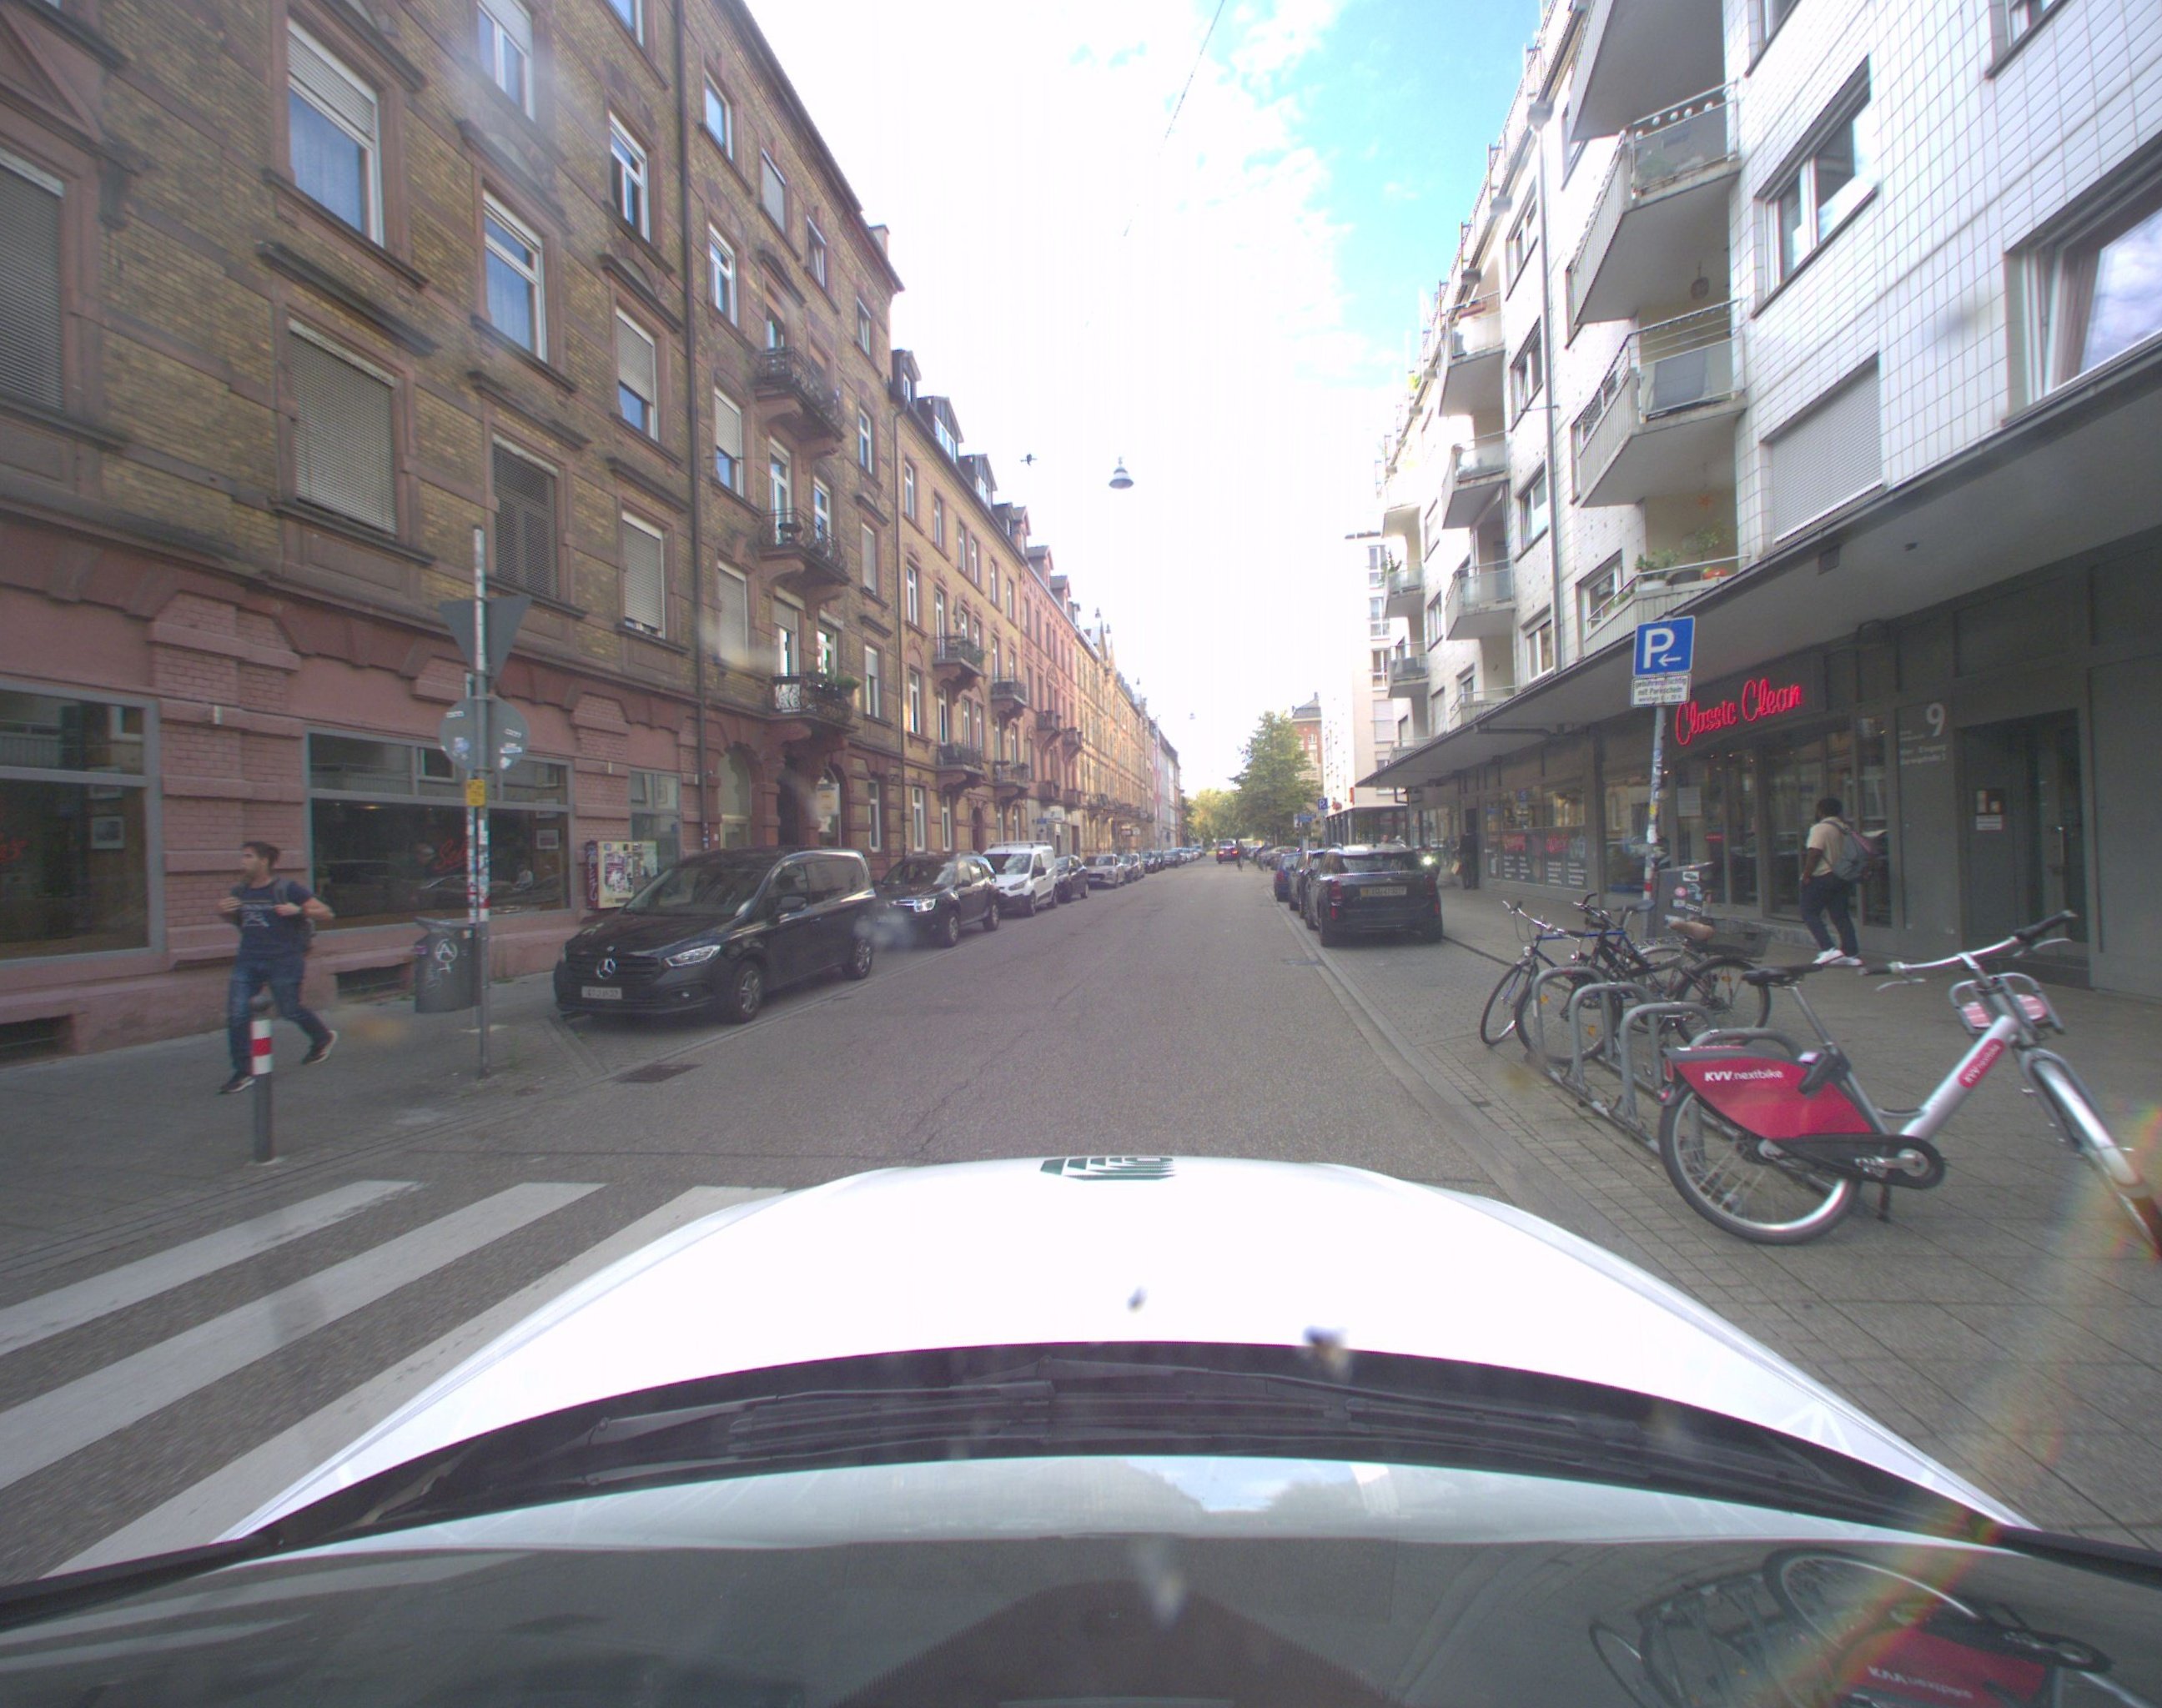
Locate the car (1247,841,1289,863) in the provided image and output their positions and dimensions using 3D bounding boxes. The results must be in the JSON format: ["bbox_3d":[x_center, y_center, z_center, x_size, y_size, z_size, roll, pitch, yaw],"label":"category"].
[{"bbox_3d":[18.908,-0.240,82.326,3.958,1.683,1.745,-4,8,14],"label":"car"}]

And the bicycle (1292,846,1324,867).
[{"bbox_3d":[13.860,0.149,49.735,1.757,1.146,0.412,-4,0,5],"label":"bicycle"}]

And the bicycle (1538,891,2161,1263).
[{"bbox_3d":[3.010,0.801,3.186,1.871,1.125,0.910,-4,0,8],"label":"bicycle"}]

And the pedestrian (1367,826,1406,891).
[{"bbox_3d":[8.468,0.107,22.627,0.609,1.726,1.128,-5,0,5],"label":"pedestrian"}]

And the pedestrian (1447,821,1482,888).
[{"bbox_3d":[10.772,0.015,22.893,0.700,1.860,0.649,-2,0,39],"label":"pedestrian"}]

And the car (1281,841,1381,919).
[{"bbox_3d":[5.754,0.548,19.175,1.678,1.577,3.913,-3,0,9],"label":"car"}]

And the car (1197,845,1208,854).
[{"bbox_3d":[20.852,-0.716,140.018,1.679,1.550,3.878,-1,0,10],"label":"car"}]

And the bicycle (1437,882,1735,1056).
[{"bbox_3d":[3.677,0.817,6.013,1.782,1.070,0.587,-4,0,0],"label":"bicycle"}]

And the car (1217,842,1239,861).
[{"bbox_3d":[13.964,-0.224,77.427,1.952,1.741,4.053,-1,-1,11],"label":"car"}]

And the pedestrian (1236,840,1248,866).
[{"bbox_3d":[10.261,-0.081,51.864,0.713,1.650,0.933,-1,0,11],"label":"pedestrian"}]

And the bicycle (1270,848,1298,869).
[{"bbox_3d":[12.316,0.273,49.412,1.488,1.146,0.412,-4,0,5],"label":"bicycle"}]

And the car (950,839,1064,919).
[{"bbox_3d":[-1.844,0.580,21.881,1.908,1.871,4.449,-2,0,10],"label":"car"}]

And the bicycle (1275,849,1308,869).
[{"bbox_3d":[12.412,0.280,47.997,1.757,1.056,0.412,-4,0,5],"label":"bicycle"}]

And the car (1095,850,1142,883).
[{"bbox_3d":[1.921,0.593,40.828,1.730,1.483,3.996,-1,1,11],"label":"car"}]

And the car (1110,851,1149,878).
[{"bbox_3d":[2.748,0.569,45.390,1.679,1.386,3.879,-1,1,11],"label":"car"}]

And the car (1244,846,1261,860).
[{"bbox_3d":[19.974,-0.124,94.948,1.918,1.638,4.013,-1,1,11],"label":"car"}]

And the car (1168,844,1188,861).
[{"bbox_3d":[9.794,-0.166,82.154,1.679,1.550,3.879,0,1,10],"label":"car"}]

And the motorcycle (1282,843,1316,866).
[{"bbox_3d":[15.134,0.007,56.544,2.134,1.434,0.768,-4,0,15],"label":"motorcycle"}]

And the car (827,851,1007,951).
[{"bbox_3d":[-2.961,0.799,15.771,1.981,1.638,4.157,-1,0,10],"label":"car"}]

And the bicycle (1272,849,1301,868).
[{"bbox_3d":[13.070,0.288,51.853,1.753,1.099,0.413,-4,0,13],"label":"bicycle"}]

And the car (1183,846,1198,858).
[{"bbox_3d":[14.682,-0.237,109.093,1.679,1.550,3.878,-1,0,10],"label":"car"}]

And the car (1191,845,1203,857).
[{"bbox_3d":[17.821,-0.487,125.333,1.679,1.821,3.878,-1,0,10],"label":"car"}]

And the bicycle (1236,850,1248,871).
[{"bbox_3d":[10.207,0.375,51.626,0.713,1.274,1.890,-1,1,12],"label":"bicycle"}]

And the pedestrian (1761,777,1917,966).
[{"bbox_3d":[7.534,0.168,8.140,0.709,1.746,0.819,-4,0,9],"label":"pedestrian"}]

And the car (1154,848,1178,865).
[{"bbox_3d":[7.322,0.178,70.031,1.679,1.369,3.879,2,1,11],"label":"car"}]

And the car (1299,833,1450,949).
[{"bbox_3d":[4.846,0.525,13.988,1.781,1.605,3.937,-4,0,11],"label":"car"}]

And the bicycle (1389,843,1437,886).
[{"bbox_3d":[10.687,0.314,26.292,0.912,1.291,2.507,-4,0,11],"label":"bicycle"}]

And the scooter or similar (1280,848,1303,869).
[{"bbox_3d":[12.233,0.255,47.392,1.194,1.147,0.381,-4,1,42],"label":"scooter or similar"}]

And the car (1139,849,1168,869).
[{"bbox_3d":[5.388,0.347,59.934,1.679,1.437,3.879,-1,1,11],"label":"car"}]

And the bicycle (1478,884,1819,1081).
[{"bbox_3d":[3.659,0.810,5.336,1.782,1.070,0.569,-4,0,0],"label":"bicycle"}]

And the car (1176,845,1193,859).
[{"bbox_3d":[11.956,-0.190,93.963,1.679,1.550,3.878,-1,0,10],"label":"car"}]

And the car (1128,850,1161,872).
[{"bbox_3d":[4.227,0.440,53.949,1.679,1.386,3.879,-1,1,11],"label":"car"}]

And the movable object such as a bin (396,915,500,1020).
[{"bbox_3d":[-4.749,0.838,6.126,0.381,0.714,0.477,-1,0,6],"label":"movable object such as a bin"}]

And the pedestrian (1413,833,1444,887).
[{"bbox_3d":[10.599,0.176,24.851,0.639,1.588,0.783,-4,0,12],"label":"pedestrian"}]

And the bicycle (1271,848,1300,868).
[{"bbox_3d":[13.417,0.262,53.501,1.781,1.159,0.502,-4,0,13],"label":"bicycle"}]

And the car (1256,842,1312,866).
[{"bbox_3d":[15.369,-0.009,61.881,3.748,1.546,1.731,-4,-1,0],"label":"car"}]

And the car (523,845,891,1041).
[{"bbox_3d":[-3.998,0.785,9.699,1.749,1.773,4.418,0,0,10],"label":"car"}]

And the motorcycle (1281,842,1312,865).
[{"bbox_3d":[15.755,-0.033,59.526,2.134,1.530,0.689,-4,0,15],"label":"motorcycle"}]

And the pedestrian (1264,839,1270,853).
[{"bbox_3d":[31.216,-1.318,136.466,0.989,2.230,0.901,-1,0,11],"label":"pedestrian"}]

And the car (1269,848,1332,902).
[{"bbox_3d":[6.617,0.583,24.870,1.585,1.439,4.044,-3,0,12],"label":"car"}]

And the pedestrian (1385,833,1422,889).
[{"bbox_3d":[9.429,0.195,23.836,0.818,1.588,0.783,-2,0,12],"label":"pedestrian"}]

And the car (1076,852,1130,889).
[{"bbox_3d":[1.034,0.668,35.938,1.730,1.483,3.996,-1,1,11],"label":"car"}]

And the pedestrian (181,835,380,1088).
[{"bbox_3d":[-6.176,0.774,6.334,0.674,1.840,0.858,0,1,1],"label":"pedestrian"}]

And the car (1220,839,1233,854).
[{"bbox_3d":[19.689,-1.029,110.131,1.771,2.019,3.899,-1,1,10],"label":"car"}]

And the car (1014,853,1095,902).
[{"bbox_3d":[-0.794,0.721,26.949,1.730,1.483,3.997,-1,0,12],"label":"car"}]
